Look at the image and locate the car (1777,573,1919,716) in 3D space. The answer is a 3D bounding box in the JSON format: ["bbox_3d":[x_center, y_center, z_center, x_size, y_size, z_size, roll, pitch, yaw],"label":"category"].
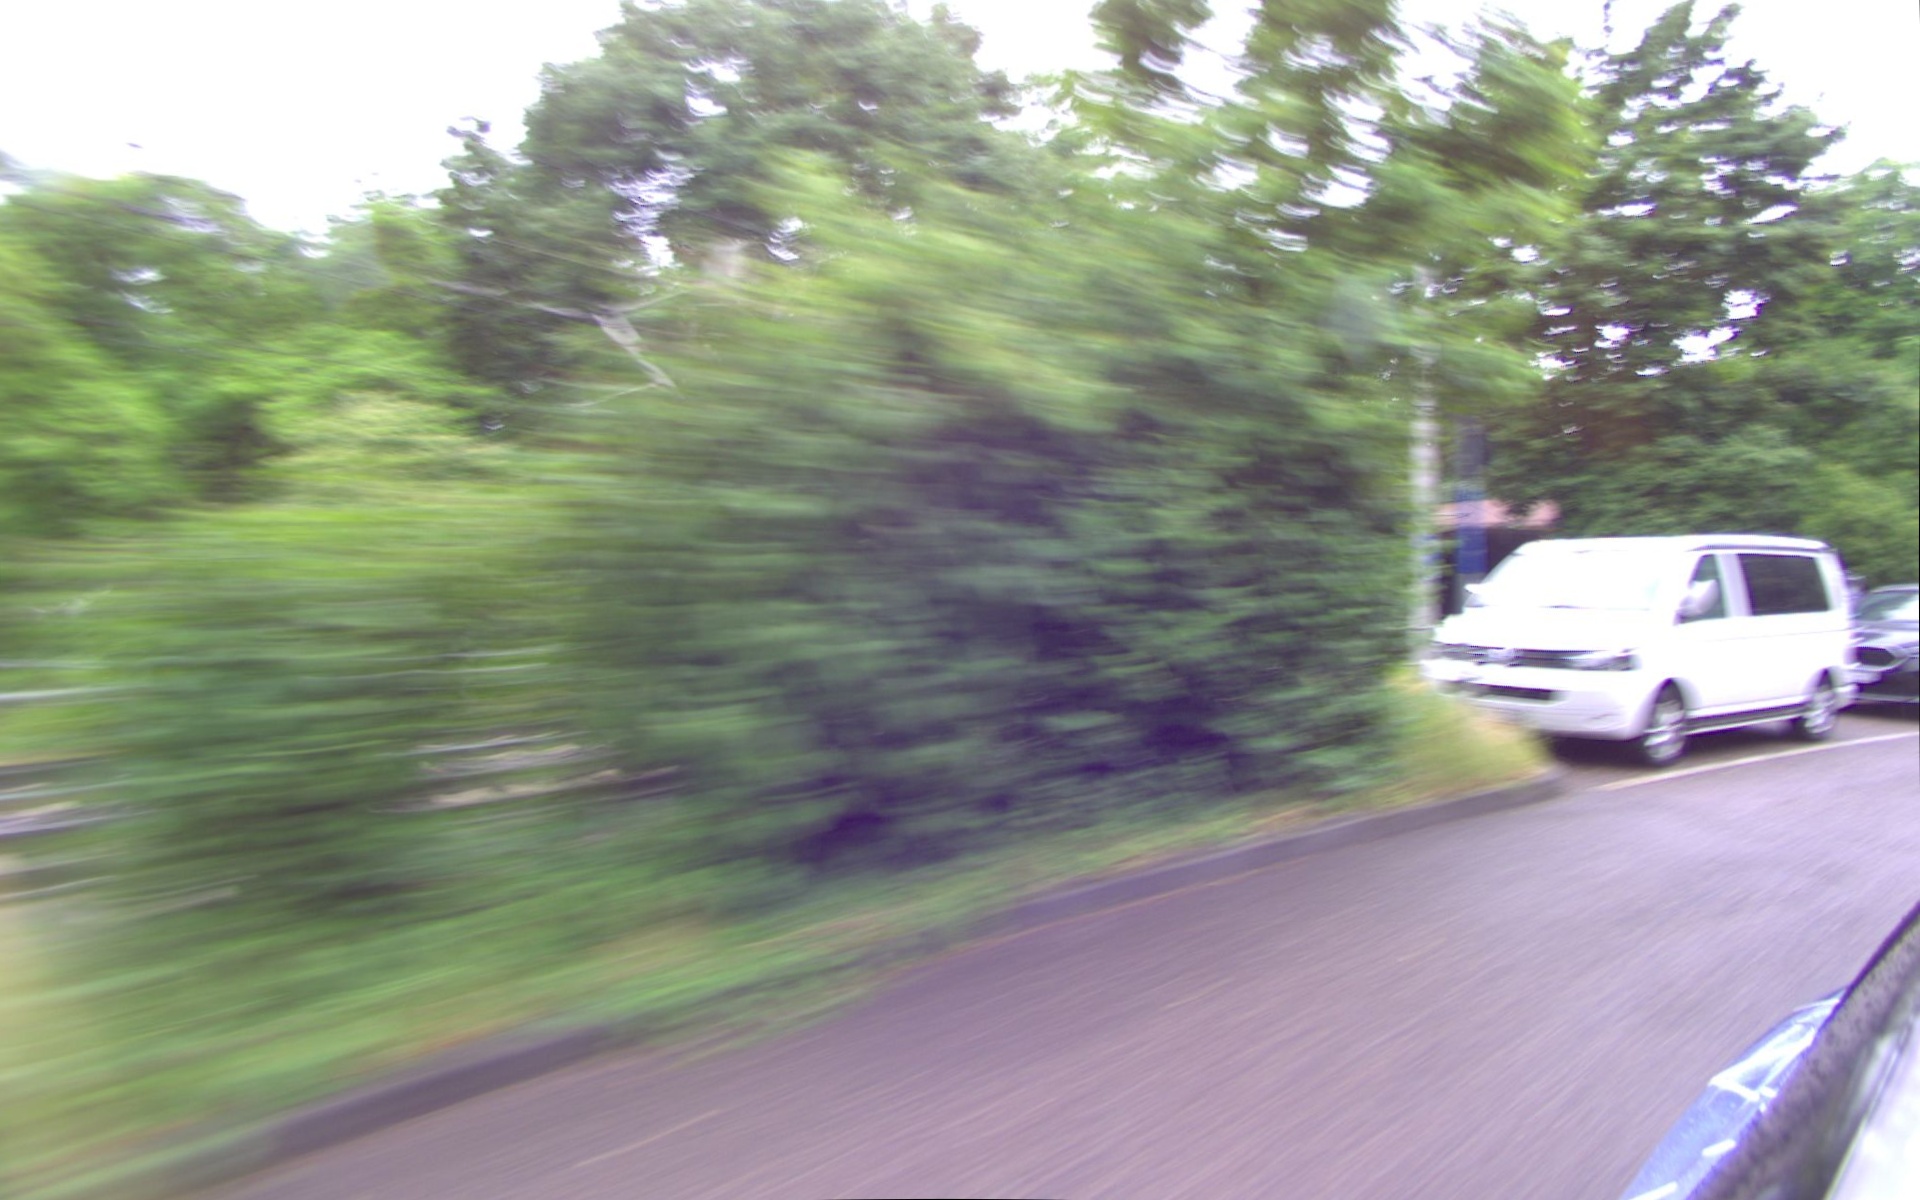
[{"bbox_3d":[12.268,0.471,12.438,4.188,1.575,1.727,0,1,-24],"label":"car"}]

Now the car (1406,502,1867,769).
[{"bbox_3d":[6.574,0.257,9.711,4.598,2.039,1.884,0,1,-31],"label":"car"}]
